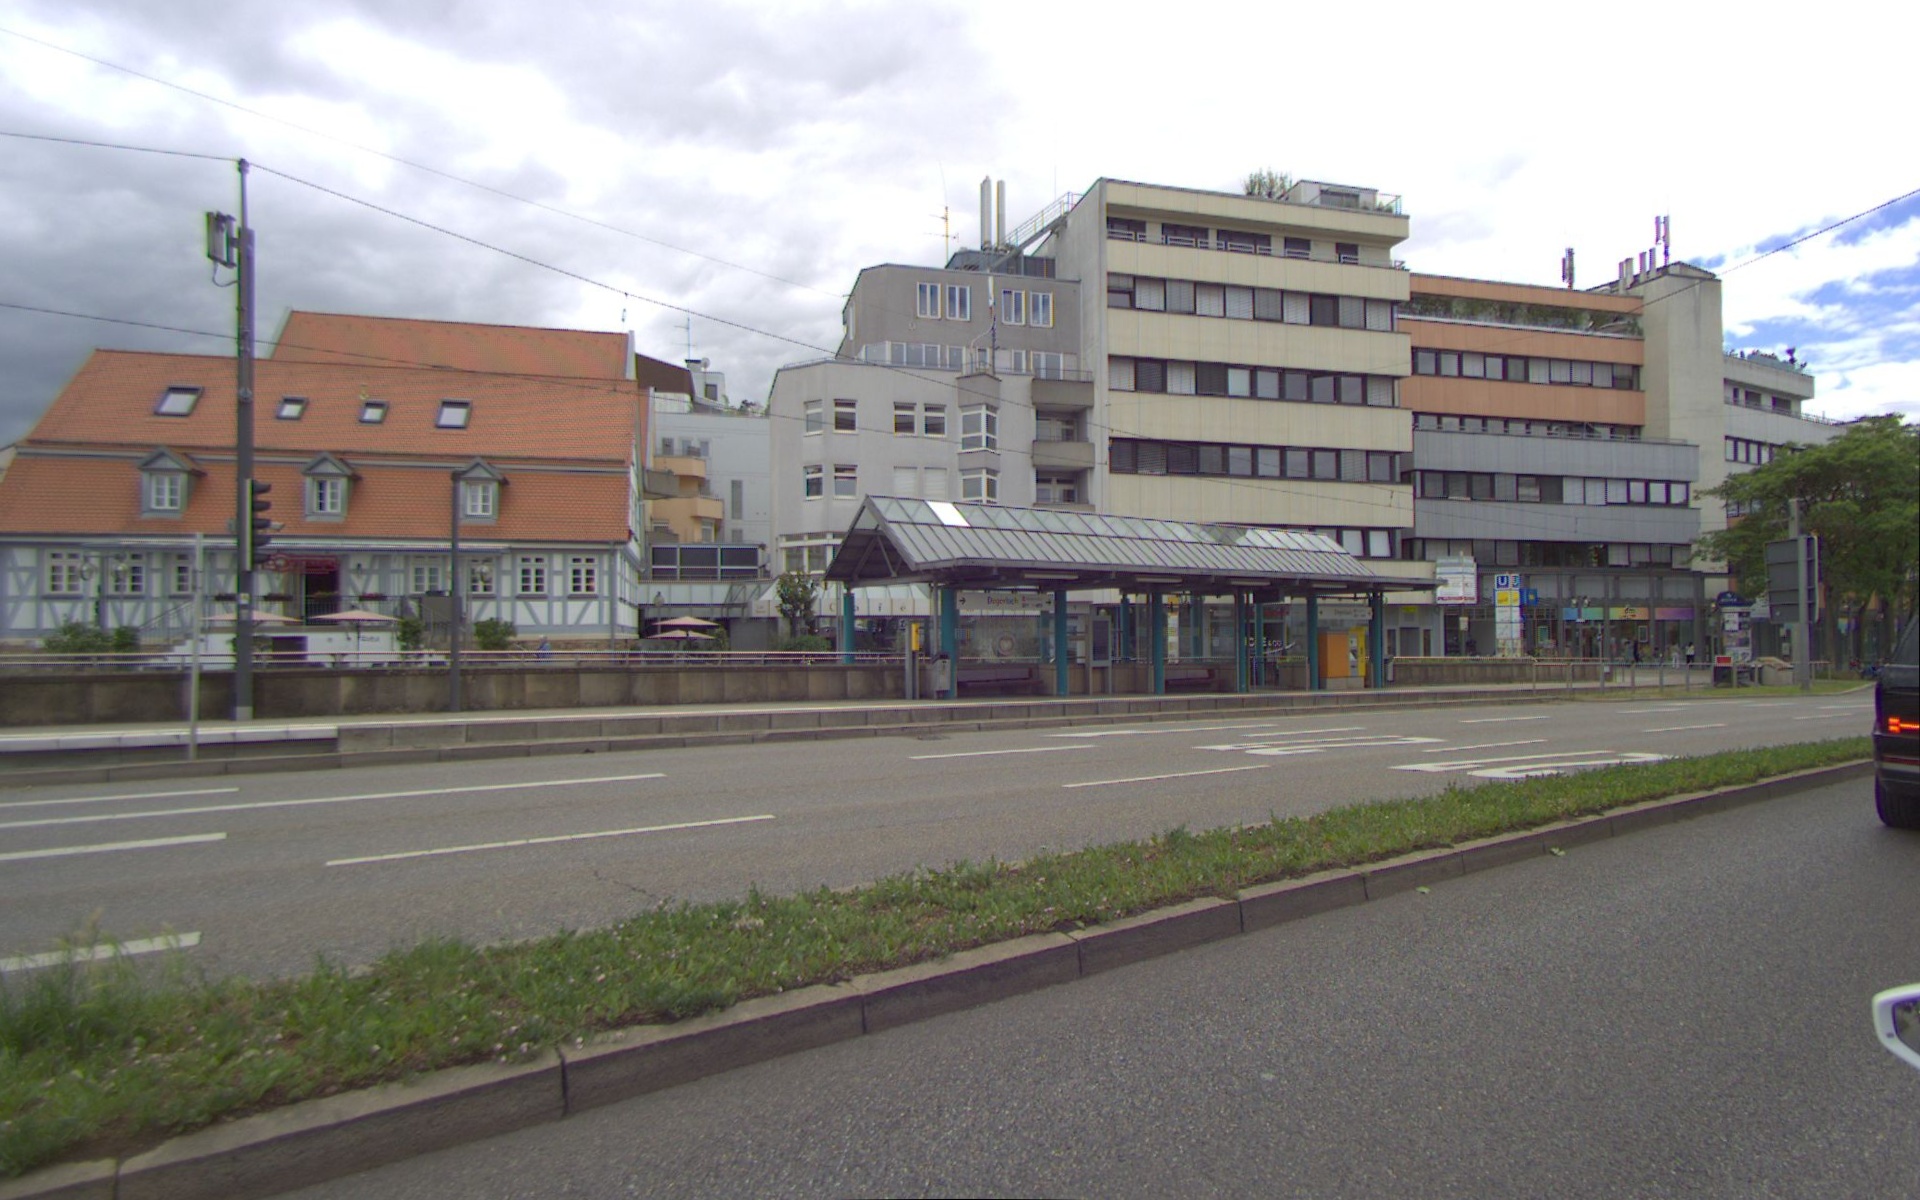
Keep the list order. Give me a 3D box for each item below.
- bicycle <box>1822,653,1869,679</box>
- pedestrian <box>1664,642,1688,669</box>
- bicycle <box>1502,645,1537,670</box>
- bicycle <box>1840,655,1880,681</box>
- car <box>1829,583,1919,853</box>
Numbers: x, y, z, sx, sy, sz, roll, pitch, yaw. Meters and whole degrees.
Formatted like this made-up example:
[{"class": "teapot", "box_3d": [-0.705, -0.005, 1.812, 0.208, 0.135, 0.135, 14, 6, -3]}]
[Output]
[{"class": "bicycle", "box_3d": [44.590, 3.304, 50.596, 1.649, 1.270, 0.627, 0, -2, 10]}, {"class": "pedestrian", "box_3d": [42.234, 3.276, 59.218, 0.882, 1.547, 0.852, -1, -2, 16]}, {"class": "bicycle", "box_3d": [31.230, 3.216, 56.077, 0.692, 1.336, 1.972, 1, -3, -6]}, {"class": "bicycle", "box_3d": [44.779, 3.359, 49.975, 1.441, 1.270, 0.432, 0, -2, 13]}, {"class": "car", "box_3d": [8.521, 0.864, 7.530, 4.631, 1.774, 1.910, 2, -1, -34]}]
